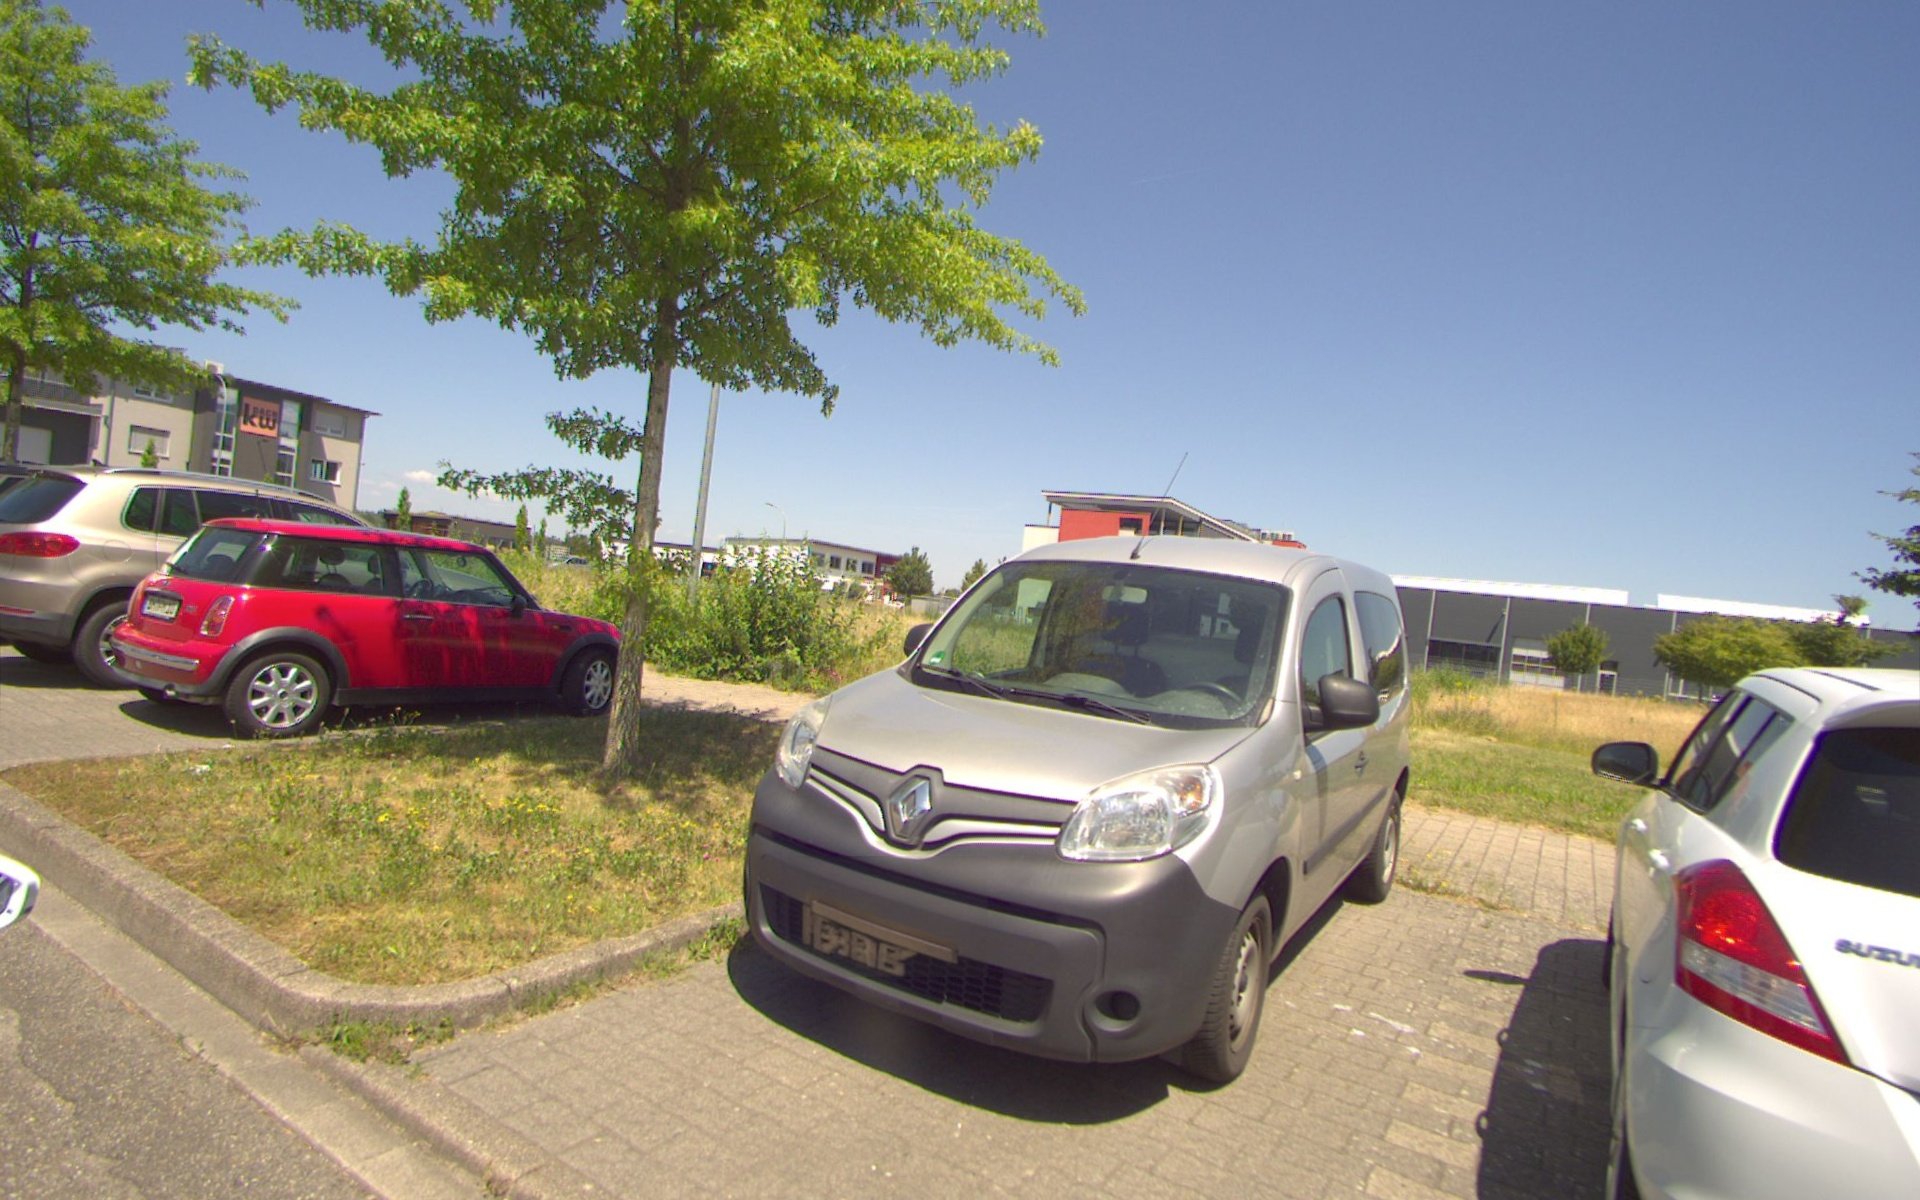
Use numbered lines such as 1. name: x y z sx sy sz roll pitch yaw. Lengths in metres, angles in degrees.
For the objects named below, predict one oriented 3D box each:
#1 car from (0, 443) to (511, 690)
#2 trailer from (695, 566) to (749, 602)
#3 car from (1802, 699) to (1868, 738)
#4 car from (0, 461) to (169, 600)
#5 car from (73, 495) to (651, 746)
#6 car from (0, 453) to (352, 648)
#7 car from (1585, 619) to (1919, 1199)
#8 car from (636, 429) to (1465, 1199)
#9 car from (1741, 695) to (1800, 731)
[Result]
1. car: -6.349 -0.231 8.965 1.753 1.700 3.876 7 1 32
2. trailer: -20.616 -1.350 87.385 2.195 2.632 3.992 7 0 31
3. car: 43.077 5.814 49.625 1.691 1.529 3.990 7 0 32
4. car: -13.848 -1.077 13.626 1.959 1.791 4.453 7 1 30
5. car: -4.441 0.152 7.945 1.725 1.435 3.459 7 1 32
6. car: -8.774 -0.481 10.089 1.752 1.718 4.176 7 1 31
7. car: 2.942 0.949 3.009 1.649 1.522 3.632 7 1 33
8. car: 0.959 0.558 4.583 1.766 1.854 4.403 7 1 33
9. car: 40.909 5.670 50.844 1.691 1.470 3.990 7 0 32
